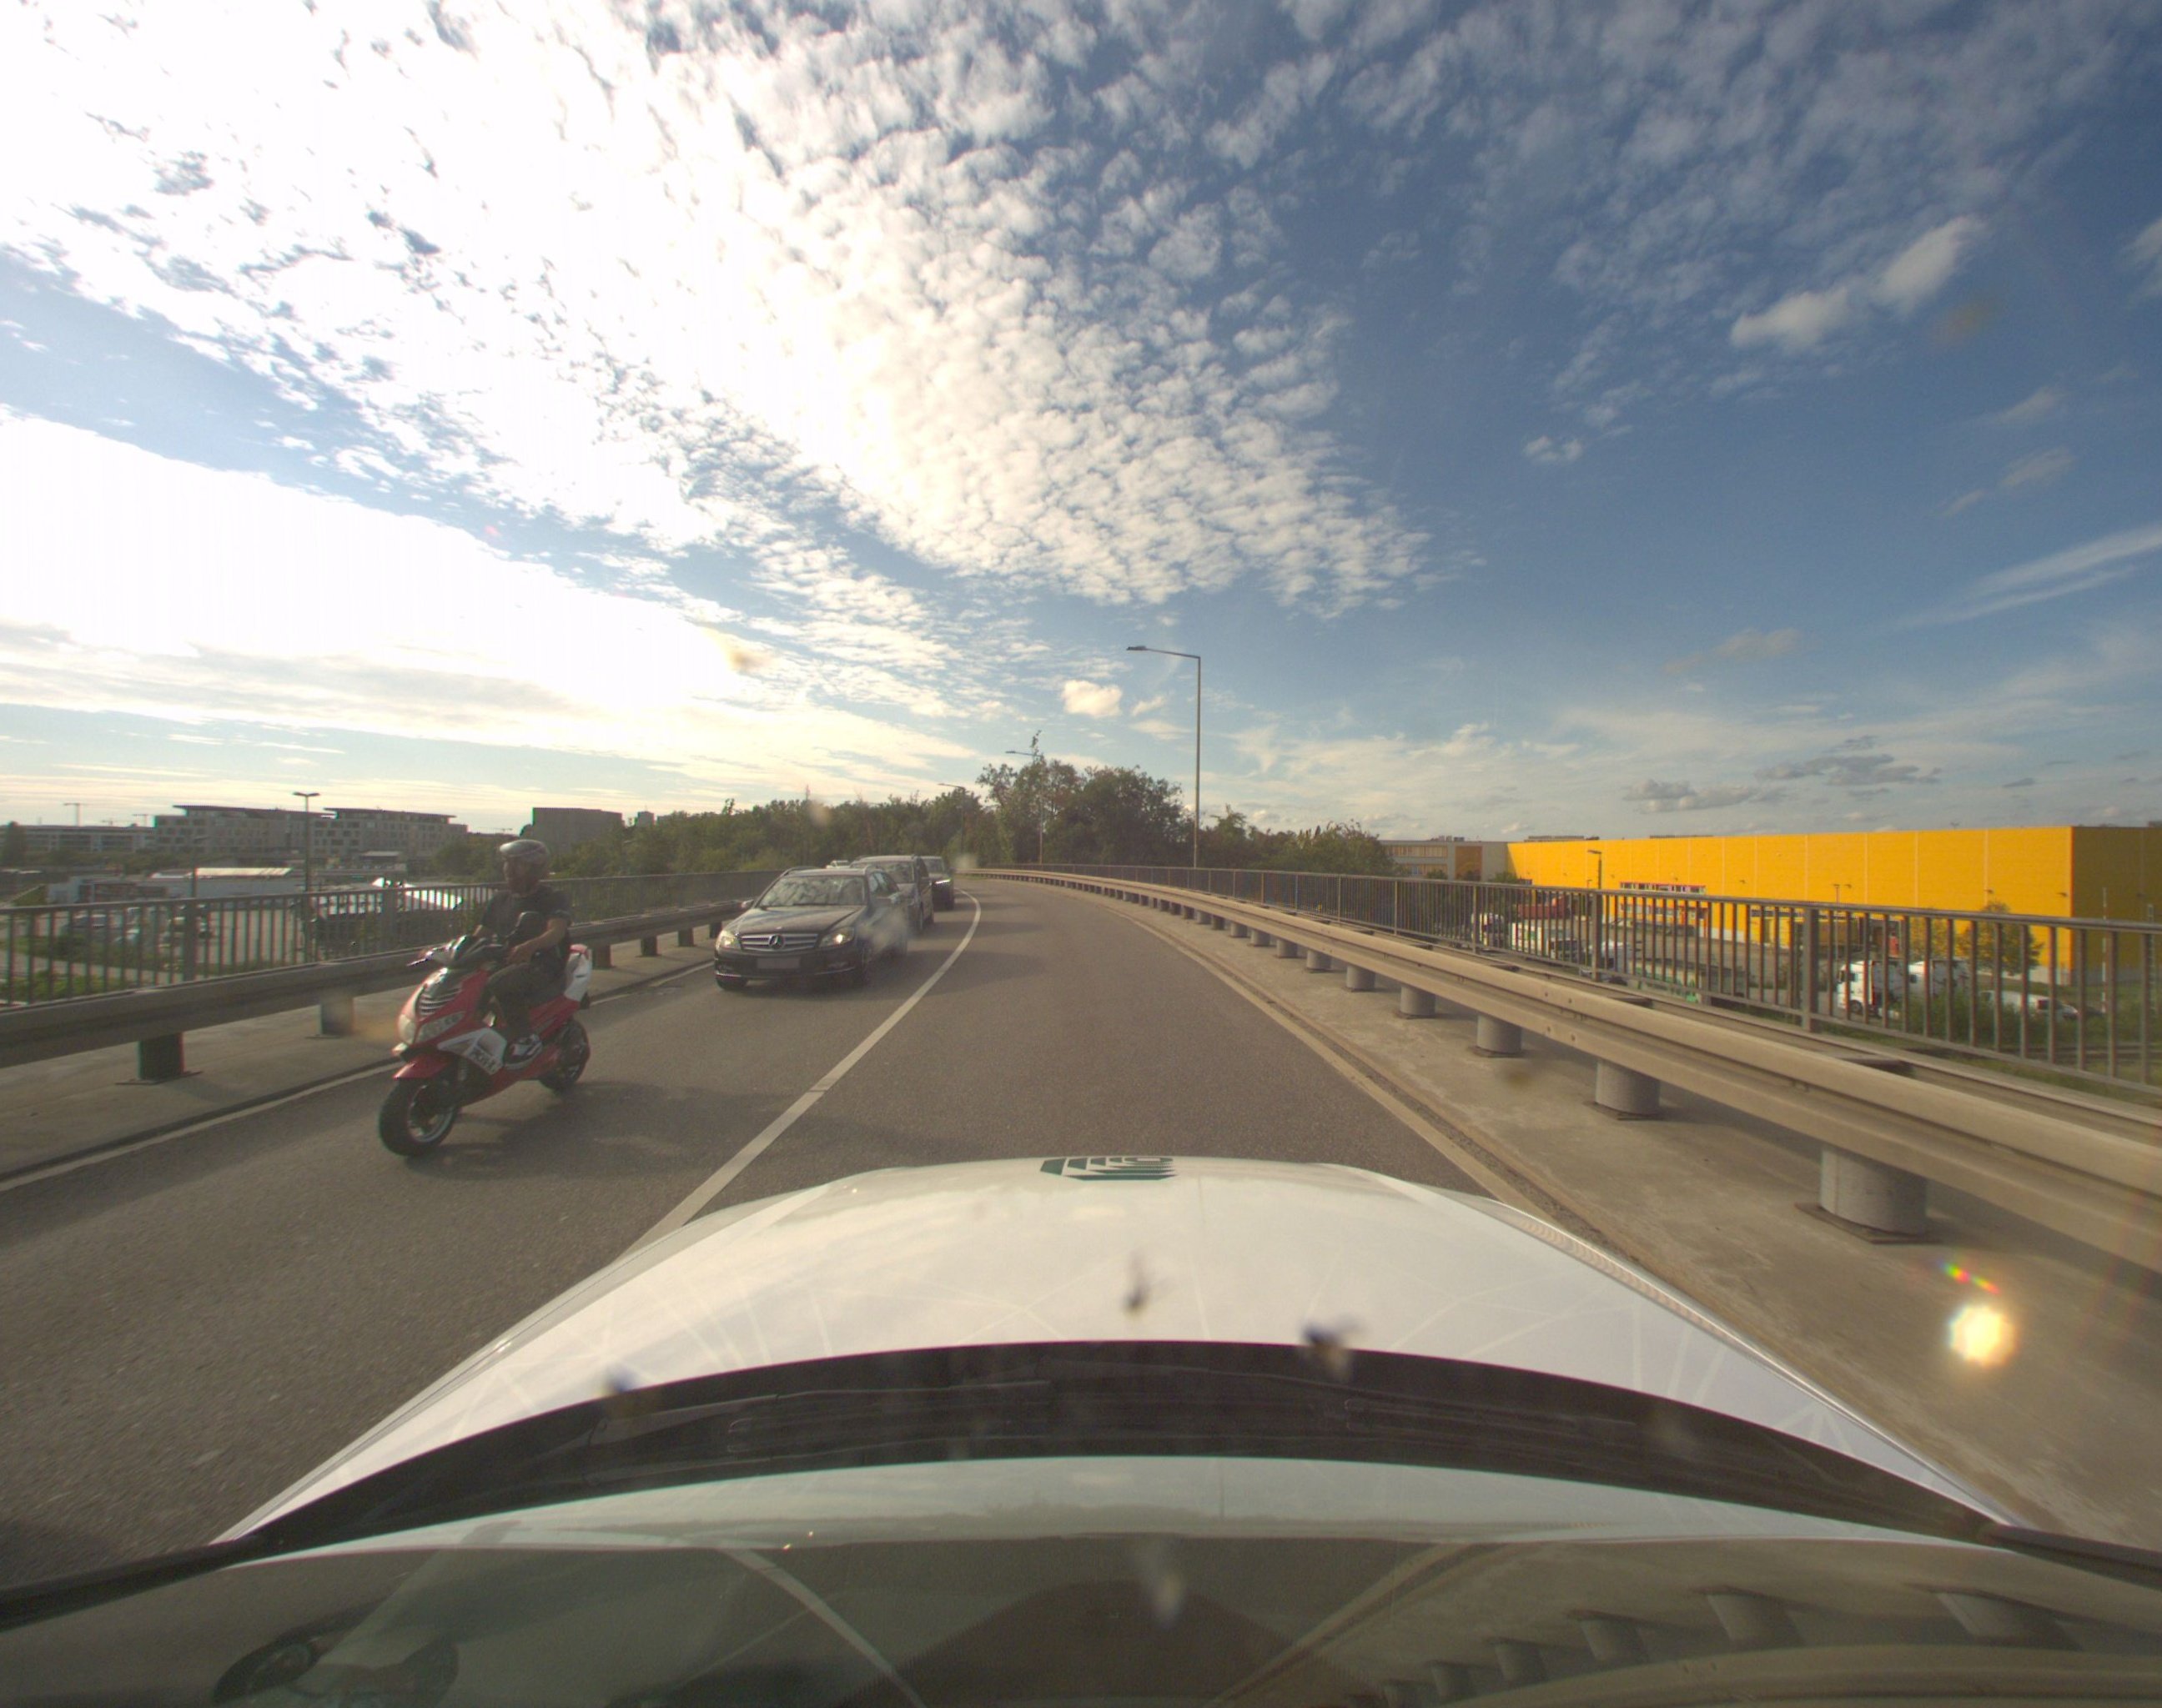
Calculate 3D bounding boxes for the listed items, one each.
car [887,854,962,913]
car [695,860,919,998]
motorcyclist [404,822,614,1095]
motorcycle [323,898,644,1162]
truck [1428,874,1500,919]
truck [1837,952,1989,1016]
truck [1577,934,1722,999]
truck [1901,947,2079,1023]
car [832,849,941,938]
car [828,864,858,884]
[{"bbox_3d":[-4.882,0.873,25.914,1.923,1.649,4.578,-2,0,-6],"label":"car"},{"bbox_3d":[-3.508,0.847,11.384,1.829,1.465,4.511,-2,0,-4],"label":"car"},{"bbox_3d":[-3.576,0.604,5.175,0.618,1.553,0.938,-2,0,1],"label":"motorcyclist"},{"bbox_3d":[-3.569,0.956,5.103,0.618,1.252,1.793,-2,0,2],"label":"motorcycle"},{"bbox_3d":[46.944,5.085,100.392,3.617,4.855,11.276,-1,-1,0],"label":"truck"},{"bbox_3d":[54.608,8.497,53.577,7.182,3.617,2.668,-1,1,1],"label":"truck"},{"bbox_3d":[40.909,8.085,58.799,8.558,4.091,2.668,-1,1,1],"label":"truck"},{"bbox_3d":[59.627,8.471,53.820,2.025,3.379,8.615,-1,1,-1],"label":"truck"},{"bbox_3d":[-4.105,0.772,17.798,1.679,1.649,4.289,-2,0,-6],"label":"car"},{"bbox_3d":[-23.437,1.966,80.079,1.911,1.810,5.356,-1,-1,-27],"label":"car"}]
